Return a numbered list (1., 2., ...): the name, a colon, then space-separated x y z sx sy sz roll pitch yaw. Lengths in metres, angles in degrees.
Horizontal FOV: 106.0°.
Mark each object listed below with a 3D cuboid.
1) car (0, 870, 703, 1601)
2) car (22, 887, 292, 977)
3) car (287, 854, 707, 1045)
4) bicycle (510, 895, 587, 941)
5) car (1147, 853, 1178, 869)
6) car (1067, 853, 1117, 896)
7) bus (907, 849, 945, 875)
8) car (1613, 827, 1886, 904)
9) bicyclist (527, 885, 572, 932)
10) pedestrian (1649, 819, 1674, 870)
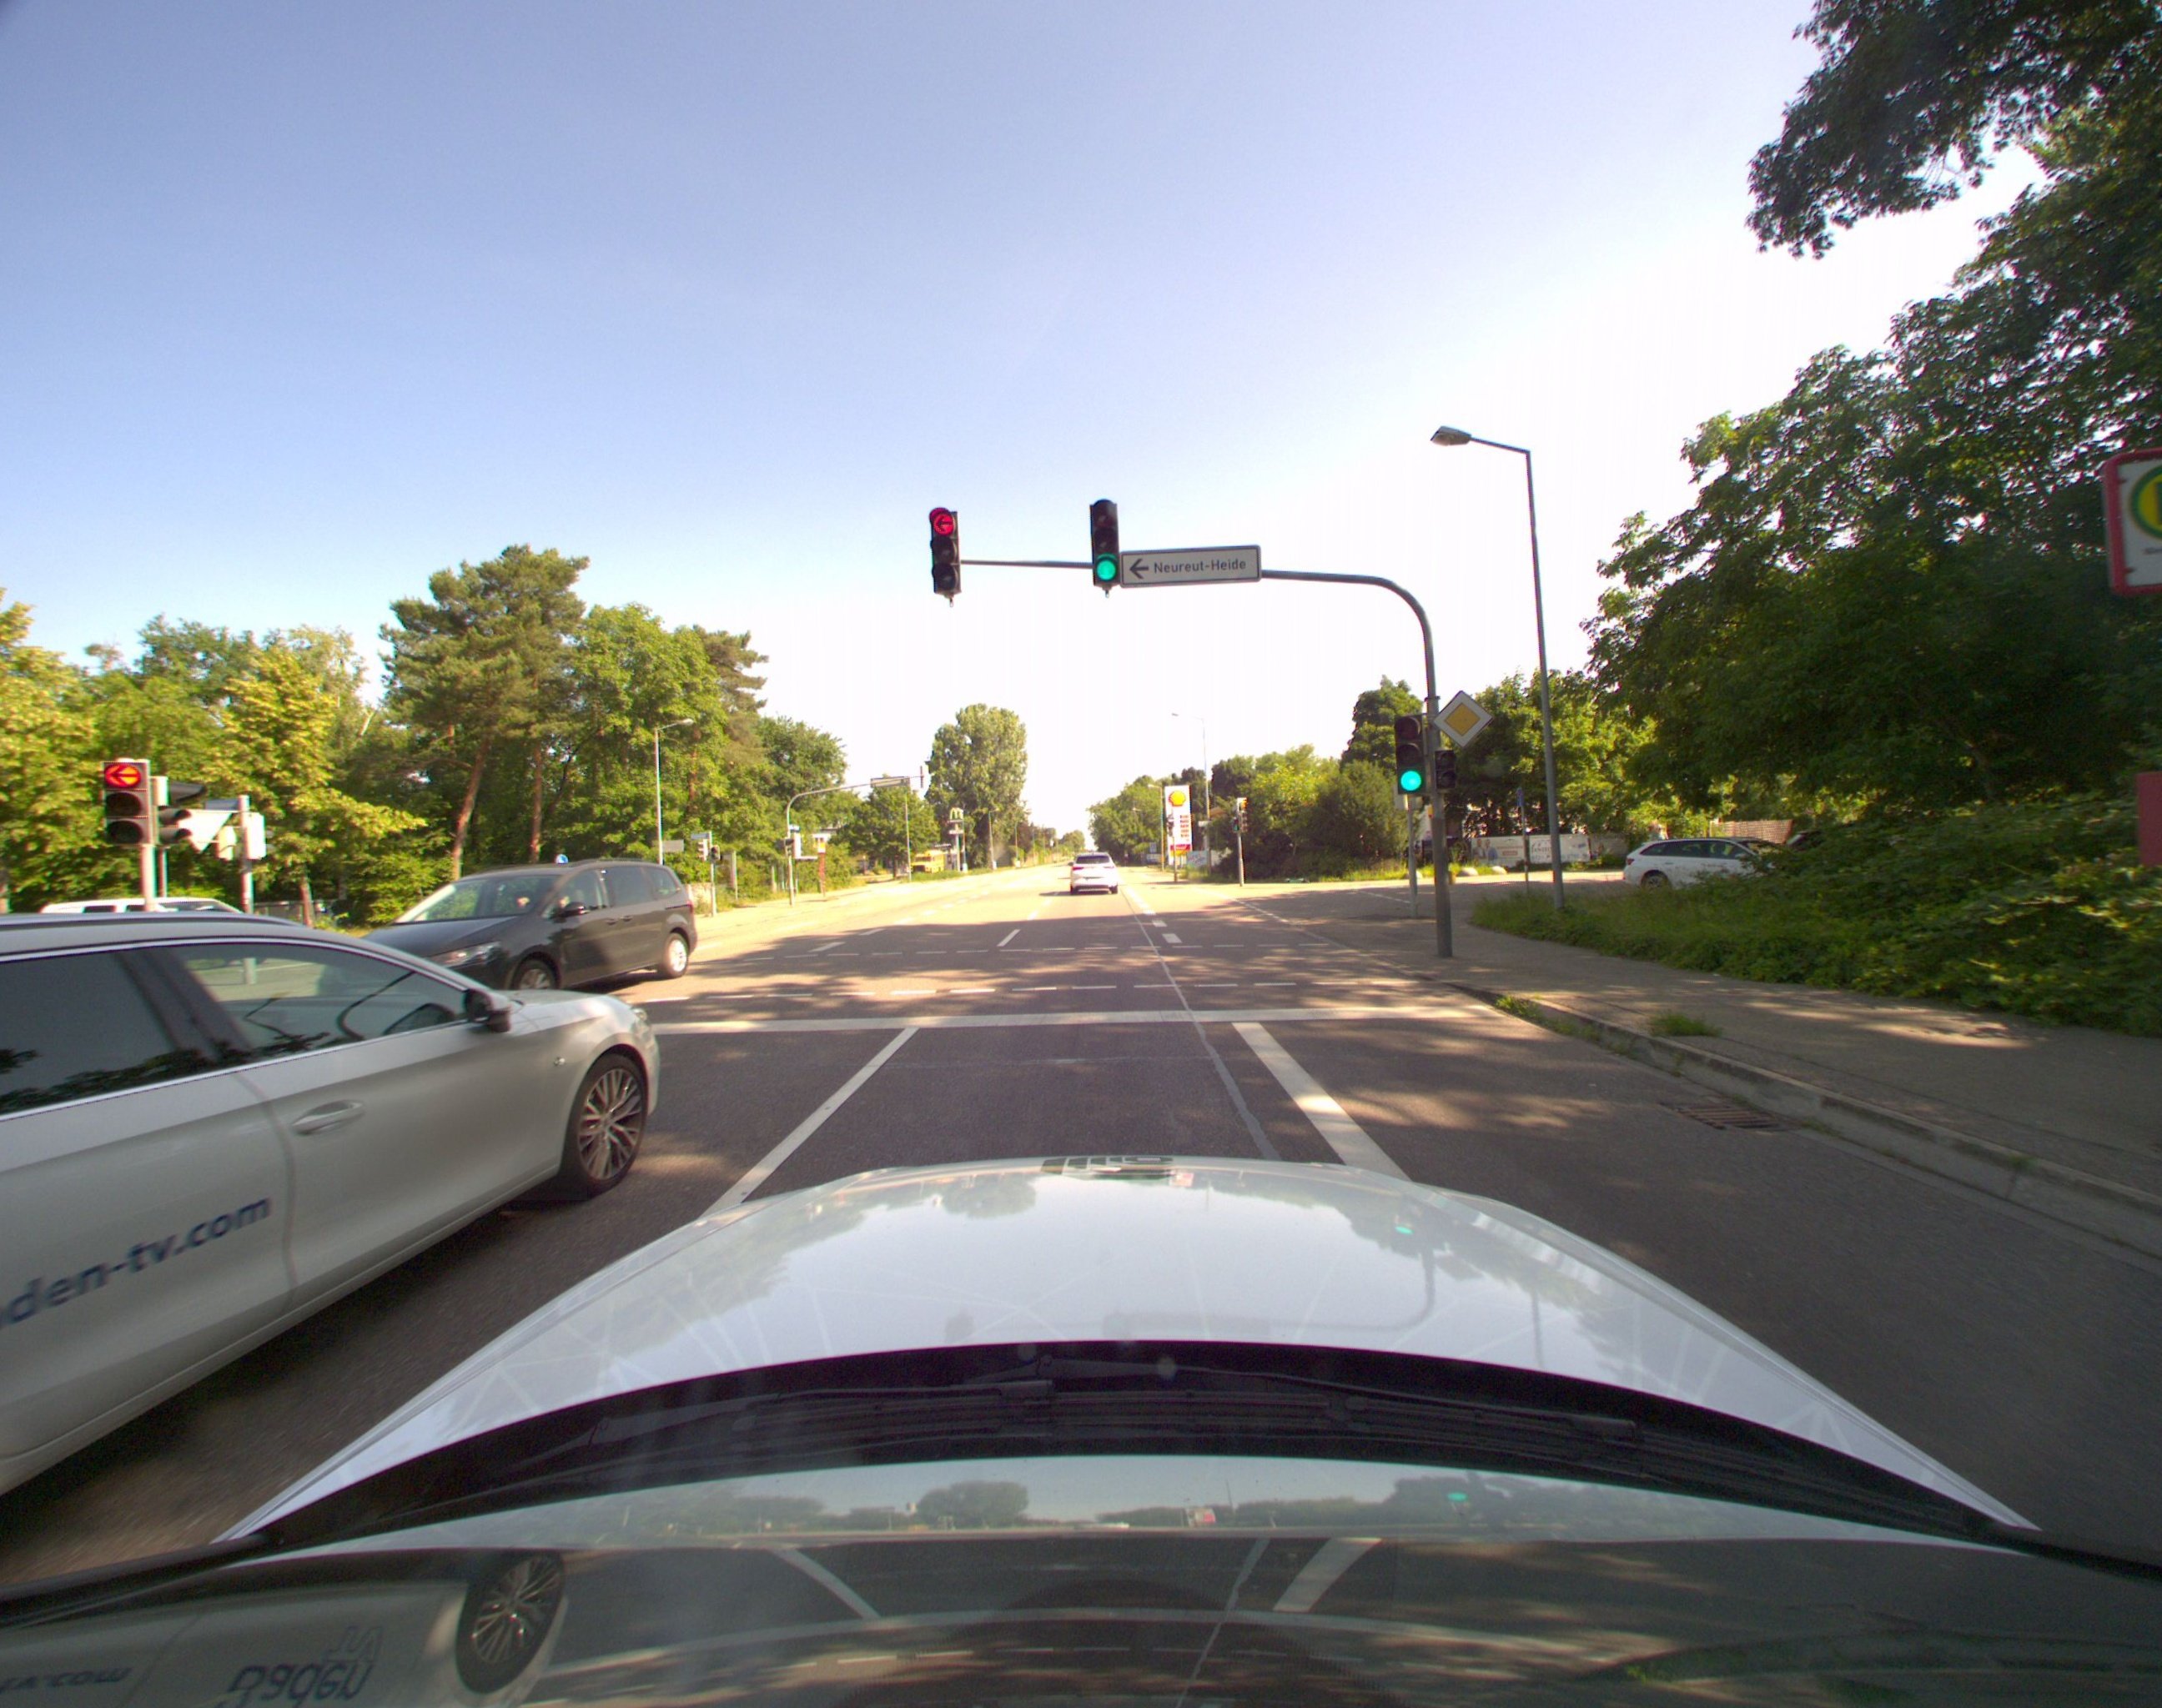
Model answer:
1. car: -3.091 0.828 2.399 1.777 1.424 4.424 -1 0 1
2. car: -23.162 1.915 20.534 4.630 1.778 1.853 -4 -1 1
3. car: -6.571 0.929 9.947 1.784 1.697 4.392 -4 -1 1
4. bicycle: -15.922 1.885 24.447 0.730 1.163 2.372 -3 0 0
5. car: 8.273 0.749 82.548 1.587 1.530 2.697 0 -2 -45
6. car: 0.470 0.786 32.481 1.840 1.541 4.225 -1 -1 1
7. bus: -17.285 0.920 91.451 2.571 2.679 8.993 -1 -1 -1
8. car: 14.867 0.255 18.494 1.628 1.464 4.585 -3 0 -19
9. bicyclist: -15.941 1.616 24.459 0.719 1.311 0.883 -3 0 -1
10. pedestrian: 19.220 -0.318 26.970 0.602 1.629 0.417 -3 0 33
